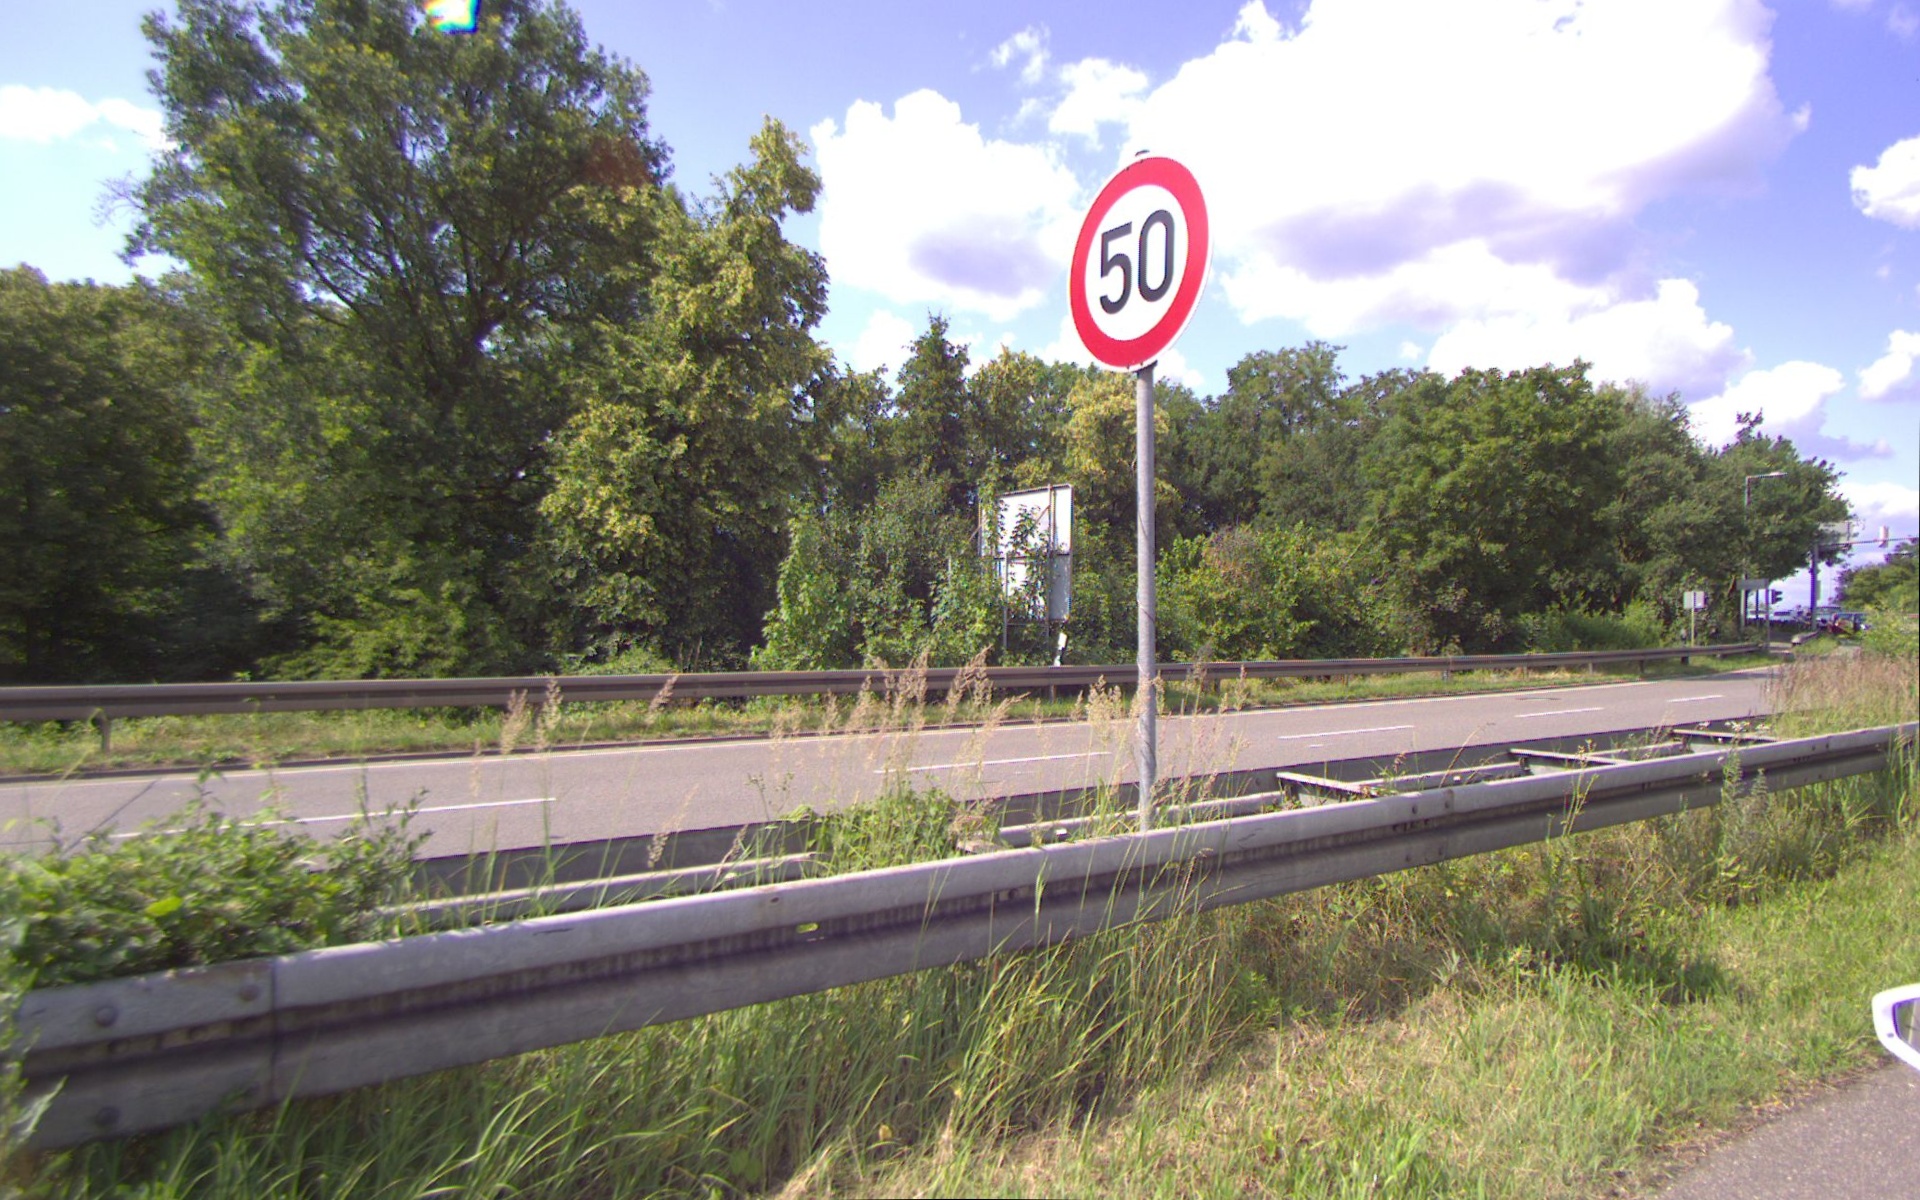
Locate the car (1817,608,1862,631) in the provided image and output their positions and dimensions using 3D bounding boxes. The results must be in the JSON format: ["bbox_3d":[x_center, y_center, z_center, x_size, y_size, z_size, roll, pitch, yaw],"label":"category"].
[{"bbox_3d":[59.486,1.303,67.979,1.707,1.496,4.035,0,-1,33],"label":"car"}]

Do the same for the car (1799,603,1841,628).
[{"bbox_3d":[63.098,1.119,73.768,1.818,1.826,4.314,0,-1,33],"label":"car"}]

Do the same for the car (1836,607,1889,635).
[{"bbox_3d":[55.022,1.278,61.276,1.814,1.639,3.989,-1,-2,34],"label":"car"}]

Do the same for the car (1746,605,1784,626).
[{"bbox_3d":[70.340,1.350,87.789,1.816,1.728,4.319,0,-1,29],"label":"car"}]
